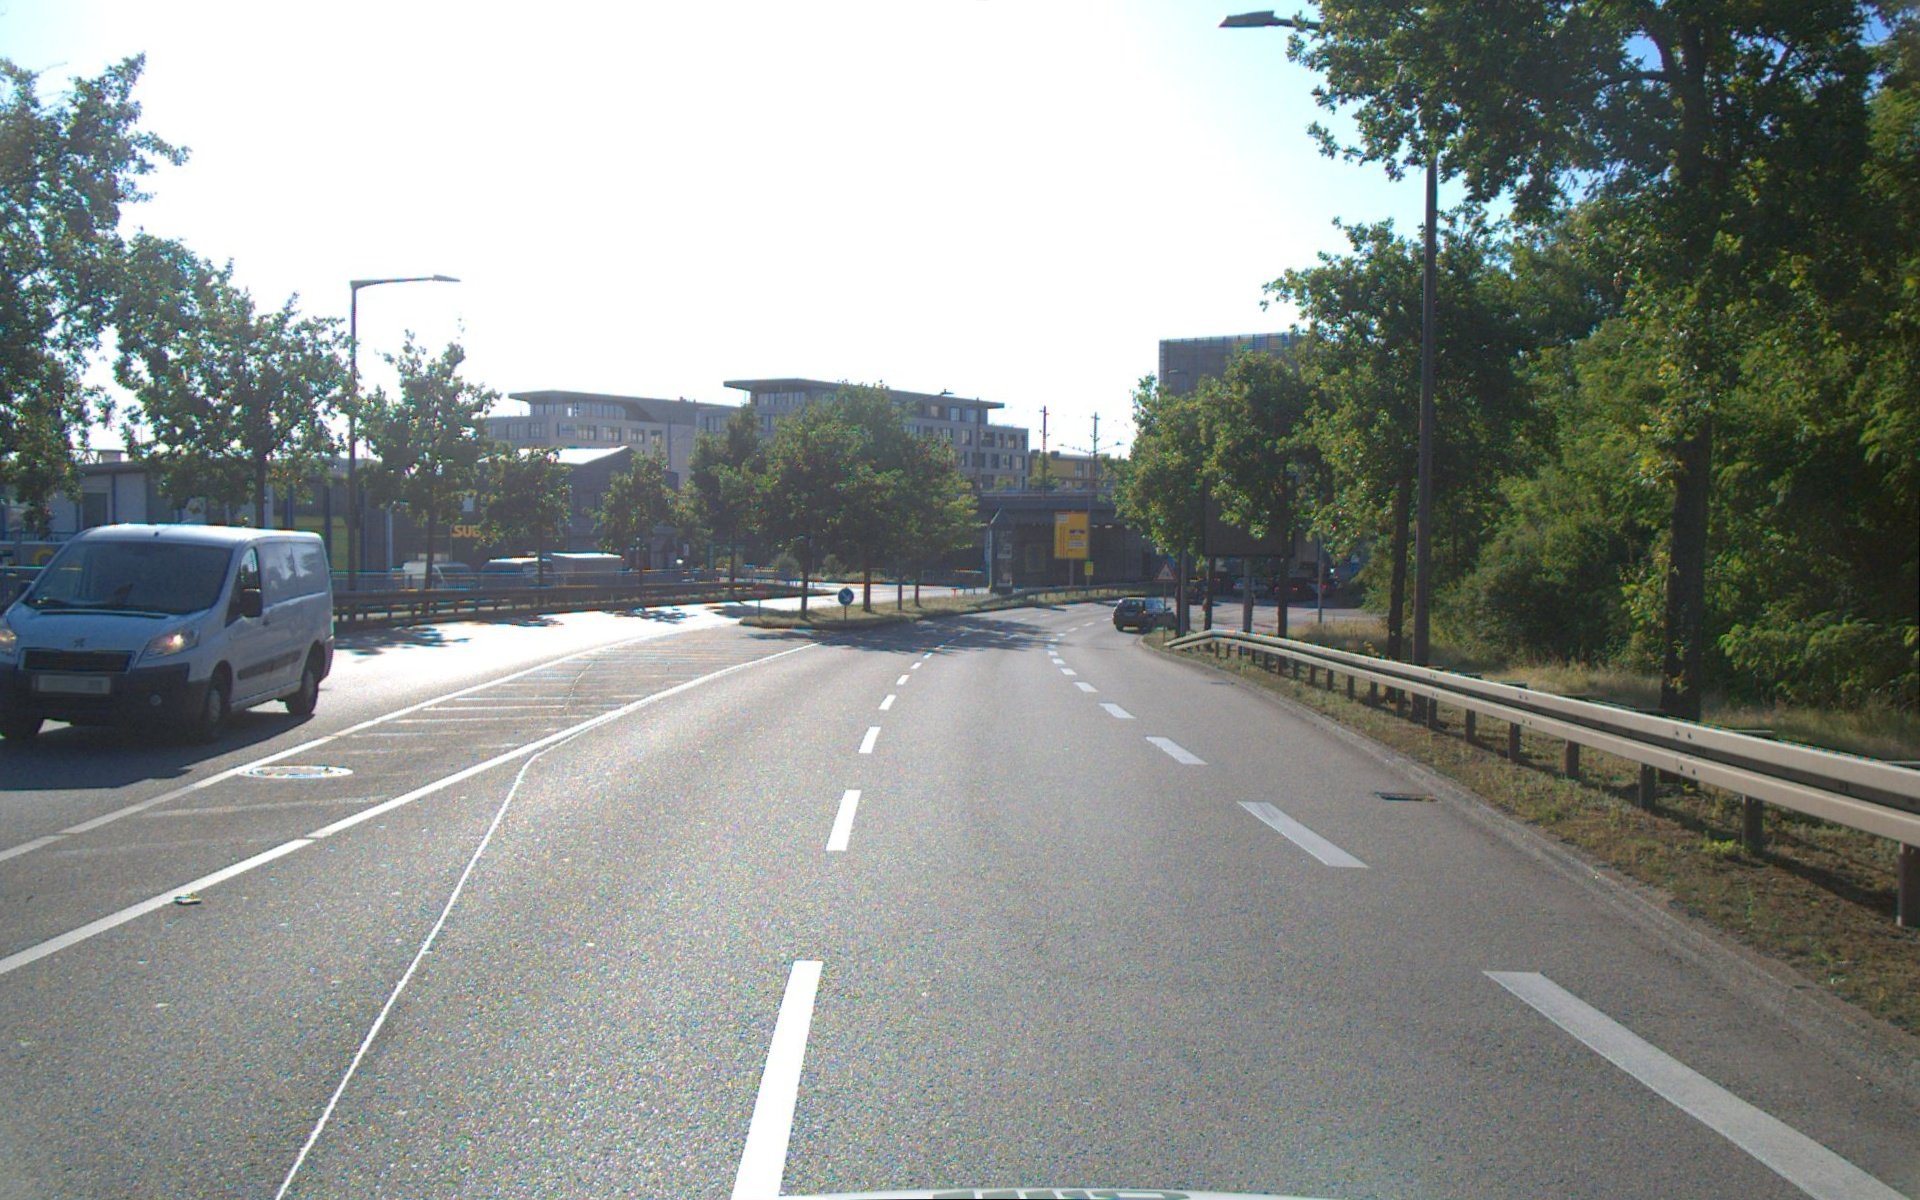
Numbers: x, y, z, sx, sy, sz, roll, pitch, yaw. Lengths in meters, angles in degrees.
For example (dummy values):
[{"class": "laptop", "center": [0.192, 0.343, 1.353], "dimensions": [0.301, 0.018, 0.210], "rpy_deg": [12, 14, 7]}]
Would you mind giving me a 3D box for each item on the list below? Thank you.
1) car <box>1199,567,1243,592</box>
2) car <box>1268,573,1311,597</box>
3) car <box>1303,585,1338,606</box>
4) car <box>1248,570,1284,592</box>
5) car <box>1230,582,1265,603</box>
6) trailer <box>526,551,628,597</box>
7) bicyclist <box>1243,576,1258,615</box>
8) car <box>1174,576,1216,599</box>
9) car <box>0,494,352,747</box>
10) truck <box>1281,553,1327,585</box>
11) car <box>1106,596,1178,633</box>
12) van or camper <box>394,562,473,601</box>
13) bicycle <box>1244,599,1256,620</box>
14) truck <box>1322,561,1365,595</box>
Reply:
[{"class": "car", "center": [19.412, -1.548, 122.872], "dimensions": [1.795, 1.768, 4.455], "rpy_deg": [2, 2, 29]}, {"class": "car", "center": [23.535, -1.121, 117.965], "dimensions": [1.708, 1.479, 4.600], "rpy_deg": [3, 4, 28]}, {"class": "car", "center": [27.101, -0.378, 124.374], "dimensions": [1.737, 1.521, 3.829], "rpy_deg": [1, 1, 26]}, {"class": "car", "center": [24.838, -1.529, 134.202], "dimensions": [1.805, 1.749, 3.997], "rpy_deg": [-1, 0, 26]}, {"class": "car", "center": [20.869, -0.563, 119.849], "dimensions": [1.517, 1.448, 3.413], "rpy_deg": [-1, 1, 27]}, {"class": "trailer", "center": [-17.866, -1.235, 77.606], "dimensions": [2.368, 2.004, 6.612], "rpy_deg": [2, 1, 9]}, {"class": "bicyclist", "center": [14.893, -0.221, 84.777], "dimensions": [0.667, 1.940, 0.834], "rpy_deg": [2, 2, 9]}, {"class": "car", "center": [15.619, -0.874, 109.847], "dimensions": [1.551, 1.433, 3.828], "rpy_deg": [3, 2, 27]}, {"class": "car", "center": [-7.588, 0.170, 16.341], "dimensions": [1.843, 2.049, 5.249], "rpy_deg": [2, 0, -8]}, {"class": "truck", "center": [29.193, -2.609, 140.113], "dimensions": [1.991, 2.601, 5.524], "rpy_deg": [2, 2, 32]}, {"class": "car", "center": [8.112, 0.640, 73.486], "dimensions": [1.954, 1.534, 3.998], "rpy_deg": [-1, 0, 25]}, {"class": "van or camper", "center": [-27.027, -0.957, 84.870], "dimensions": [4.152, 1.959, 1.989], "rpy_deg": [1, 0, 41]}, {"class": "bicycle", "center": [14.869, 0.467, 84.776], "dimensions": [0.566, 0.980, 2.889], "rpy_deg": [2, 2, 10]}, {"class": "truck", "center": [30.540, -1.729, 131.655], "dimensions": [2.072, 2.563, 4.392], "rpy_deg": [2, 1, 30]}]
